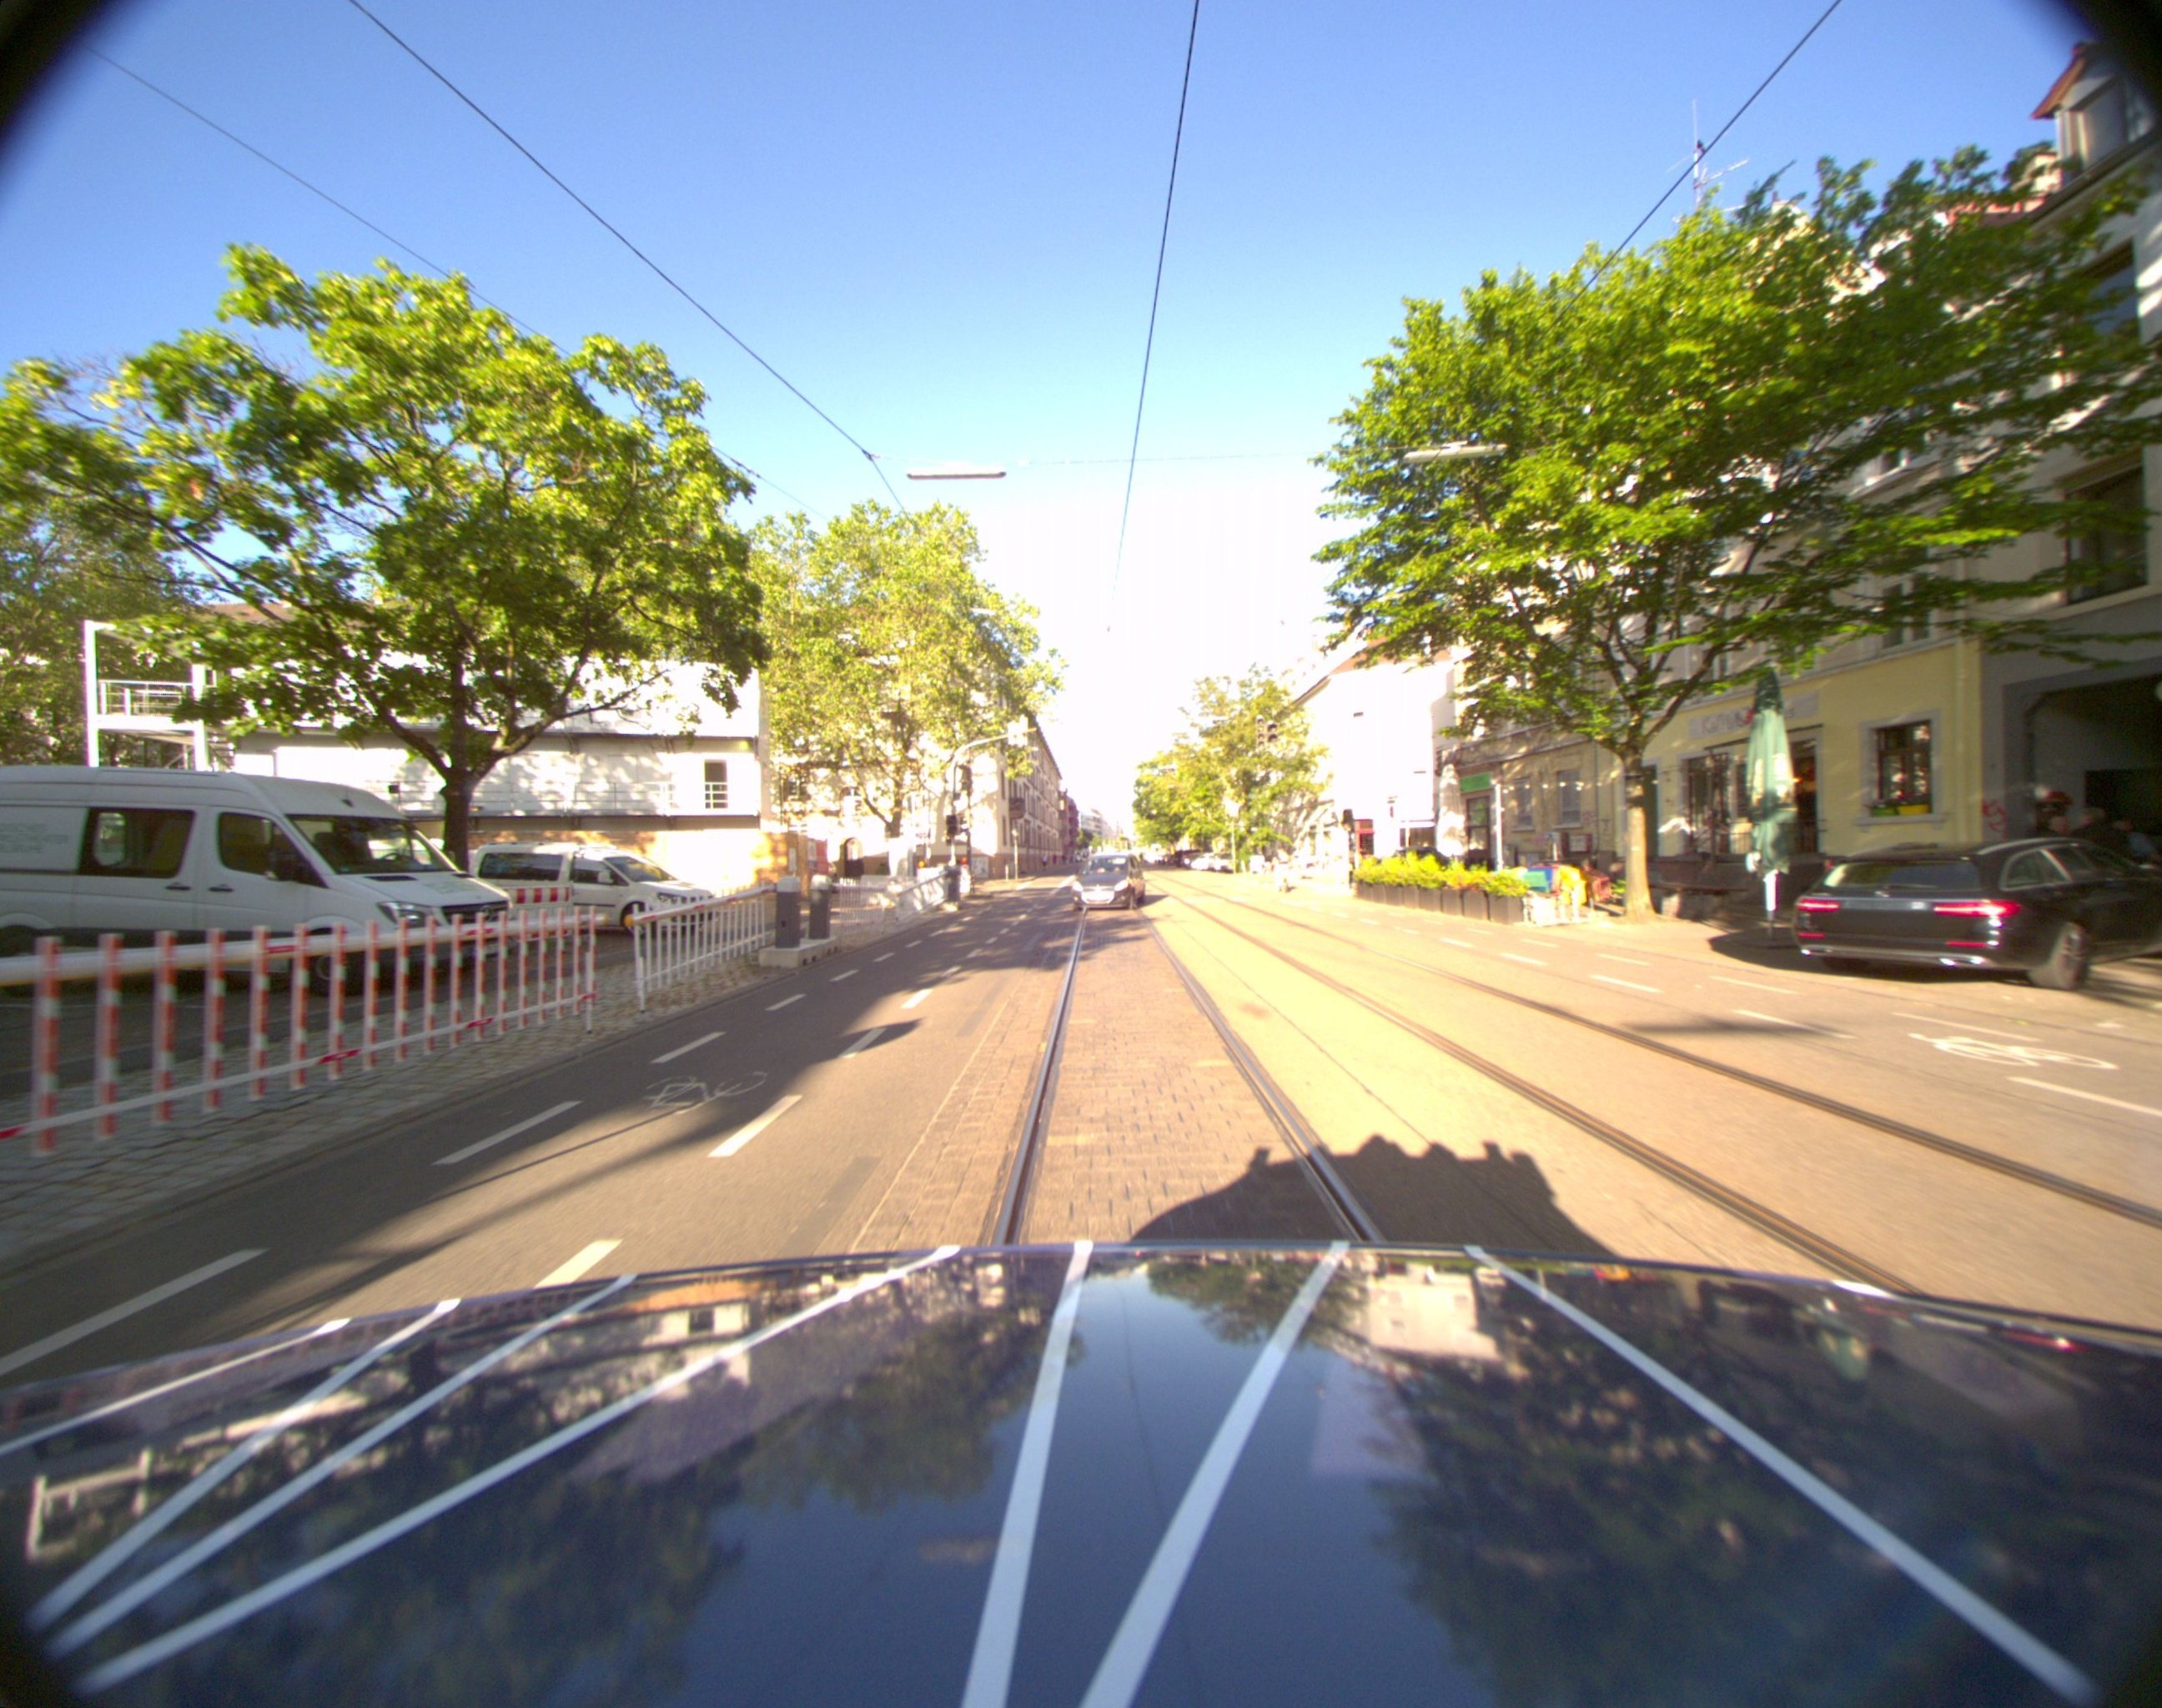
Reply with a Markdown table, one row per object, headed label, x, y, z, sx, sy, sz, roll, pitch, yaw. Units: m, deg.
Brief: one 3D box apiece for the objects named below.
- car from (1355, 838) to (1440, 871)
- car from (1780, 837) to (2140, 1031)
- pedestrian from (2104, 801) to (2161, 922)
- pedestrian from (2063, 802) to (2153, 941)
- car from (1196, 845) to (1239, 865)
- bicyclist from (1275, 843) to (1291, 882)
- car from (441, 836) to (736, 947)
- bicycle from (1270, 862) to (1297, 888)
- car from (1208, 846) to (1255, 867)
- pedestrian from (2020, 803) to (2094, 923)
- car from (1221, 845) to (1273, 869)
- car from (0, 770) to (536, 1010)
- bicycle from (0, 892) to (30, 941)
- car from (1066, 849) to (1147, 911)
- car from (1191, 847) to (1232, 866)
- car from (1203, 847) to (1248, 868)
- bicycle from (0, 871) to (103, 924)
| label | x | y | z | sx | sy | sz | roll | pitch | yaw |
| --- | --- | --- | --- | --- | --- | --- | --- | --- | --- |
| car | 17.150 | 0.034 | 41.342 | 3.993 | 1.740 | 2.002 | -1 | 1 | 13 |
| car | 9.789 | 0.693 | 8.421 | 4.005 | 1.549 | 1.777 | -3 | 1 | -28 |
| pedestrian | 16.170 | 0.108 | 11.576 | 0.488 | 1.800 | 0.510 | -1 | 1 | -3 |
| pedestrian | 14.329 | 0.237 | 10.615 | 0.454 | 1.875 | 0.591 | -1 | 1 | 1 |
| car | 11.251 | 0.086 | 62.804 | 3.336 | 1.446 | 1.496 | -3 | 2 | 4 |
| bicyclist | 7.711 | 0.320 | 28.977 | 0.419 | 1.463 | 0.590 | -1 | 1 | -1 |
| car | -9.920 | 0.725 | 15.542 | 4.793 | 1.998 | 2.001 | -2 | 1 | 5 |
| bicycle | 7.711 | 0.801 | 28.982 | 0.451 | 0.931 | 1.757 | -1 | 0 | -3 |
| car | 11.416 | 0.176 | 57.785 | 3.336 | 1.446 | 1.496 | -3 | 2 | 3 |
| pedestrian | 14.998 | 0.138 | 11.685 | 0.488 | 1.800 | 0.510 | -1 | 1 | -3 |
| car | 11.432 | 0.176 | 52.544 | 3.335 | 1.445 | 1.497 | -3 | 2 | 8 |
| car | -10.059 | 0.395 | 9.247 | 5.335 | 2.548 | 2.013 | -1 | 1 | 1 |
| bicycle | -28.813 | 1.676 | 19.496 | 0.508 | 1.277 | 2.330 | -1 | 0 | -3 |
| car | 0.855 | 0.700 | 22.449 | 1.748 | 1.612 | 4.173 | -2 | 0 | 11 |
| car | 11.486 | 0.202 | 66.836 | 3.336 | 1.446 | 1.496 | -3 | 2 | 4 |
| car | 11.459 | 0.245 | 60.337 | 3.336 | 1.446 | 1.496 | -3 | 2 | 4 |
| bicycle | -27.600 | 1.125 | 19.708 | 0.702 | 1.292 | 2.855 | -1 | 0 | 2 |
